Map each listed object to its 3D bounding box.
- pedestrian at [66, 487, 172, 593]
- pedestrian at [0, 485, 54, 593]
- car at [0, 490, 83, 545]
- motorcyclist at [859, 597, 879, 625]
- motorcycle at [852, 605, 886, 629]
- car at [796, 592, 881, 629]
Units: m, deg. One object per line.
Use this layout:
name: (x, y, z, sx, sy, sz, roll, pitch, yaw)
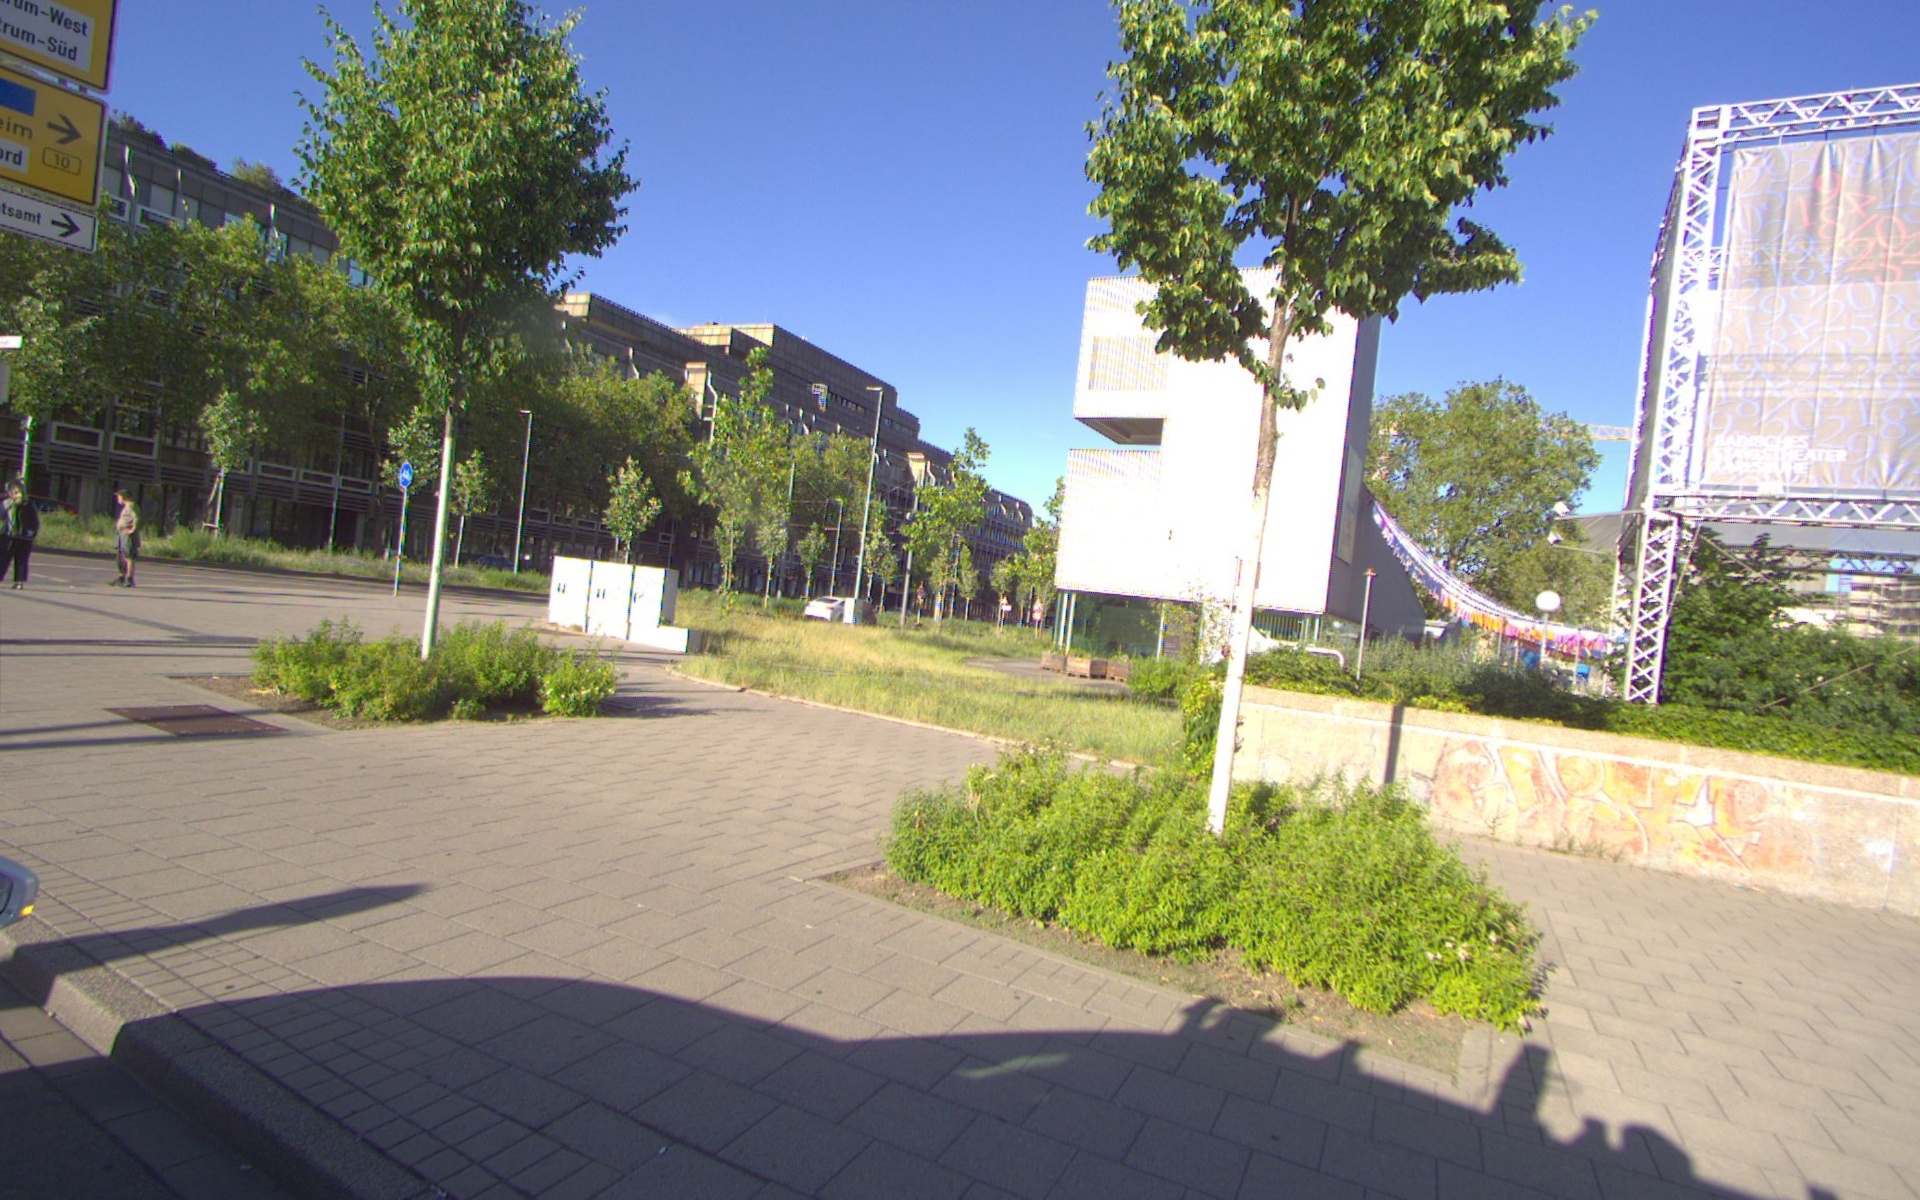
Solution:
pedestrian: (-14.972, -1.052, 17.930, 0.946, 1.684, 0.882, 7, -1, 11)
pedestrian: (-14.048, -0.918, 14.788, 0.633, 1.510, 0.789, 6, -1, 31)
car: (-33.283, -2.988, 34.916, 1.629, 1.604, 3.896, 6, -1, 24)
motorcyclist: (-4.369, 0.515, 48.386, 0.551, 1.263, 0.727, 7, 0, 26)
motorcycle: (-4.384, 0.836, 48.434, 0.551, 0.970, 2.080, 7, 0, 25)
car: (-6.117, 0.563, 51.342, 1.820, 1.437, 4.956, 7, -1, 26)
